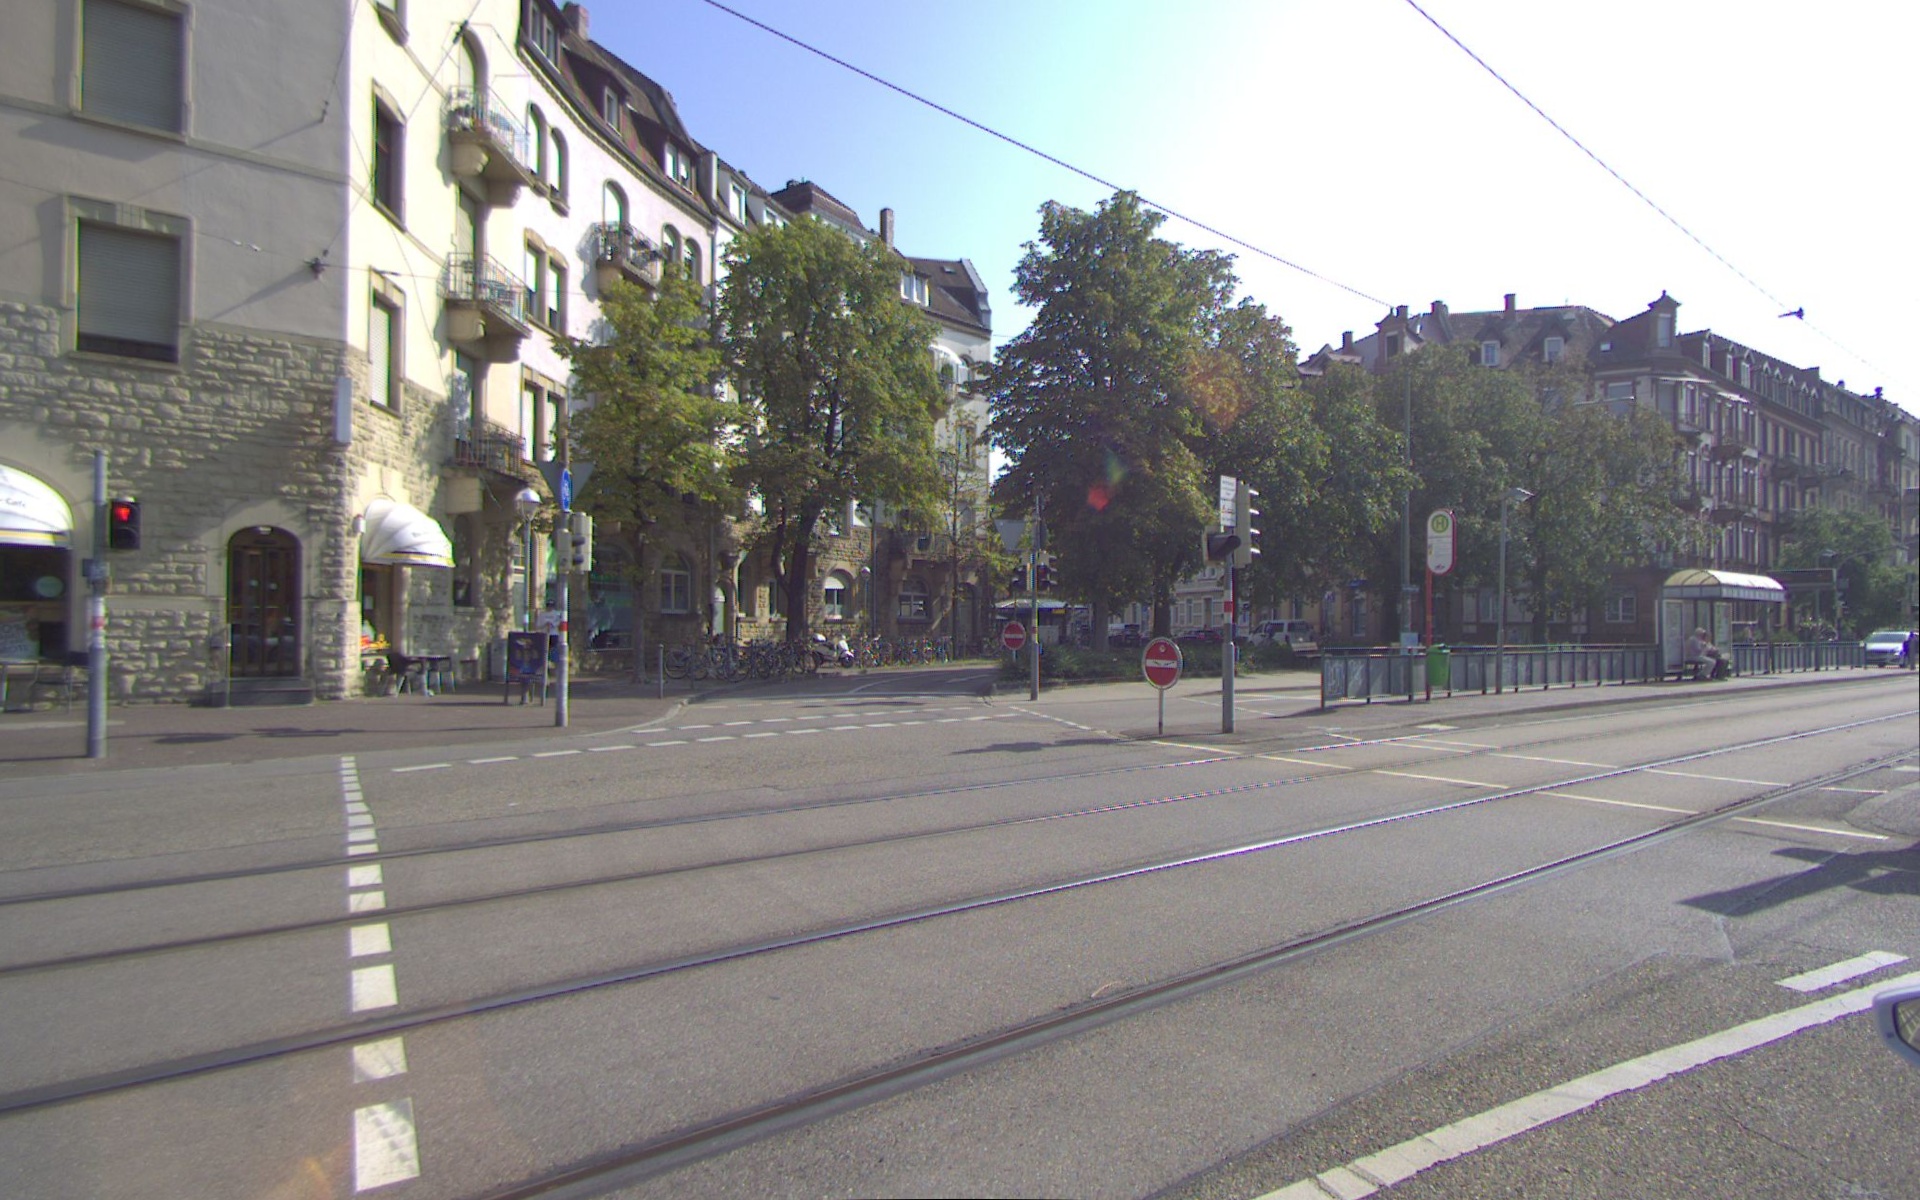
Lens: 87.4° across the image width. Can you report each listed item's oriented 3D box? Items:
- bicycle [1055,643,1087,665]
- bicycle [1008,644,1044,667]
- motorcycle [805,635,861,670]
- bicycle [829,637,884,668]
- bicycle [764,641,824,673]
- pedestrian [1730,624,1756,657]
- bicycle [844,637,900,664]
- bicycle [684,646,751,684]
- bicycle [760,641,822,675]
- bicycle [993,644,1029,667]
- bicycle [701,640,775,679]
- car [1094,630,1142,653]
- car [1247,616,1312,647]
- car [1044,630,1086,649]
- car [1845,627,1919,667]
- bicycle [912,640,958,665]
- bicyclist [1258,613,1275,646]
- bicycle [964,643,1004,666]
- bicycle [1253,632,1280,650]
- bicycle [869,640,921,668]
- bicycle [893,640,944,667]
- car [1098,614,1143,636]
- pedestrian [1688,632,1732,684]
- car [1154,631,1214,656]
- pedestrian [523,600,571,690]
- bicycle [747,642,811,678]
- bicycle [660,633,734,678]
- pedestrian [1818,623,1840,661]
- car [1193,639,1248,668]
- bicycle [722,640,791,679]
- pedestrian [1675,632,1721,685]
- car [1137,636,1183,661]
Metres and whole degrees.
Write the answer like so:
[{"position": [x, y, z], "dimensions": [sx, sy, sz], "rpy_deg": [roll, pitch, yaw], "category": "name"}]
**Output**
[{"position": [5.194, 2.528, 47.034], "dimensions": [0.598, 0.991, 1.757], "rpy_deg": [1, -2, -28], "category": "bicycle"}, {"position": [2.948, 2.446, 44.523], "dimensions": [1.754, 0.991, 0.421], "rpy_deg": [1, -2, -37], "category": "bicycle"}, {"position": [-4.438, 1.810, 34.982], "dimensions": [1.838, 1.169, 0.608], "rpy_deg": [1, -1, 20], "category": "motorcycle"}, {"position": [-3.686, 1.864, 35.827], "dimensions": [1.841, 1.041, 0.664], "rpy_deg": [1, -2, 20], "category": "bicycle"}, {"position": [-5.355, 1.828, 32.351], "dimensions": [1.768, 0.989, 0.661], "rpy_deg": [1, -1, 13], "category": "bicycle"}, {"position": [41.643, 2.148, 53.432], "dimensions": [0.757, 1.753, 0.752], "rpy_deg": [1, -1, -4], "category": "pedestrian"}, {"position": [-3.244, 1.856, 37.024], "dimensions": [1.874, 0.947, 0.738], "rpy_deg": [1, -2, 20], "category": "bicycle"}, {"position": [-6.218, 1.664, 25.800], "dimensions": [1.579, 0.932, 0.478], "rpy_deg": [1, -1, -6], "category": "bicycle"}, {"position": [-5.266, 1.799, 31.341], "dimensions": [1.768, 0.996, 0.661], "rpy_deg": [1, -1, 13], "category": "bicycle"}, {"position": [2.272, 2.431, 44.472], "dimensions": [1.754, 0.991, 0.421], "rpy_deg": [1, -2, -37], "category": "bicycle"}, {"position": [-6.018, 1.610, 27.269], "dimensions": [1.841, 1.017, 0.570], "rpy_deg": [1, -1, 0], "category": "bicycle"}, {"position": [11.767, 3.077, 75.142], "dimensions": [1.966, 1.590, 4.324], "rpy_deg": [1, -2, -14], "category": "car"}, {"position": [19.497, 1.913, 61.440], "dimensions": [1.966, 1.852, 3.989], "rpy_deg": [1, -1, -14], "category": "car"}, {"position": [8.983, 3.407, 86.461], "dimensions": [1.969, 1.590, 4.319], "rpy_deg": [1, -2, -19], "category": "car"}, {"position": [40.572, 2.040, 44.033], "dimensions": [3.603, 1.675, 1.791], "rpy_deg": [2, -2, -33], "category": "car"}, {"position": [-1.013, 2.140, 40.901], "dimensions": [1.848, 0.947, 0.636], "rpy_deg": [0, -2, 36], "category": "bicycle"}, {"position": [17.759, 1.689, 58.189], "dimensions": [0.485, 1.882, 0.985], "rpy_deg": [1, -1, -19], "category": "bicyclist"}, {"position": [1.073, 2.413, 44.941], "dimensions": [1.739, 0.991, 0.519], "rpy_deg": [-1, -2, 32], "category": "bicycle"}, {"position": [17.757, 2.362, 58.196], "dimensions": [0.489, 0.990, 1.934], "rpy_deg": [1, -2, -19], "category": "bicycle"}, {"position": [-2.491, 2.047, 38.357], "dimensions": [1.863, 0.993, 0.686], "rpy_deg": [1, -2, 20], "category": "bicycle"}, {"position": [-1.618, 2.081, 39.458], "dimensions": [1.863, 0.993, 0.686], "rpy_deg": [1, -2, 20], "category": "bicycle"}, {"position": [13.493, 2.102, 84.529], "dimensions": [1.972, 1.852, 3.978], "rpy_deg": [1, -1, -23], "category": "car"}, {"position": [20.292, 1.557, 27.180], "dimensions": [0.770, 1.377, 0.820], "rpy_deg": [2, -2, -41], "category": "pedestrian"}, {"position": [14.609, 2.826, 65.749], "dimensions": [1.967, 1.590, 4.322], "rpy_deg": [1, -2, -16], "category": "car"}, {"position": [-8.991, 0.973, 21.873], "dimensions": [0.769, 1.918, 0.885], "rpy_deg": [1, -2, -36], "category": "pedestrian"}, {"position": [-5.431, 1.789, 30.138], "dimensions": [1.768, 0.997, 0.570], "rpy_deg": [1, -1, 13], "category": "bicycle"}, {"position": [-6.902, 1.462, 26.395], "dimensions": [1.847, 1.127, 0.568], "rpy_deg": [2, -1, -16], "category": "bicycle"}, {"position": [40.924, 1.974, 47.317], "dimensions": [0.742, 1.753, 0.767], "rpy_deg": [-1, -2, 45], "category": "pedestrian"}, {"position": [17.789, 3.661, 68.705], "dimensions": [1.966, 1.852, 3.989], "rpy_deg": [1, -1, -14], "category": "car"}, {"position": [-5.824, 1.697, 28.752], "dimensions": [1.840, 1.047, 0.570], "rpy_deg": [1, -1, 15], "category": "bicycle"}, {"position": [19.533, 1.531, 26.579], "dimensions": [0.770, 1.377, 0.820], "rpy_deg": [2, -2, -41], "category": "pedestrian"}, {"position": [15.451, 3.739, 77.894], "dimensions": [1.966, 1.852, 3.989], "rpy_deg": [1, -1, -14], "category": "car"}]
